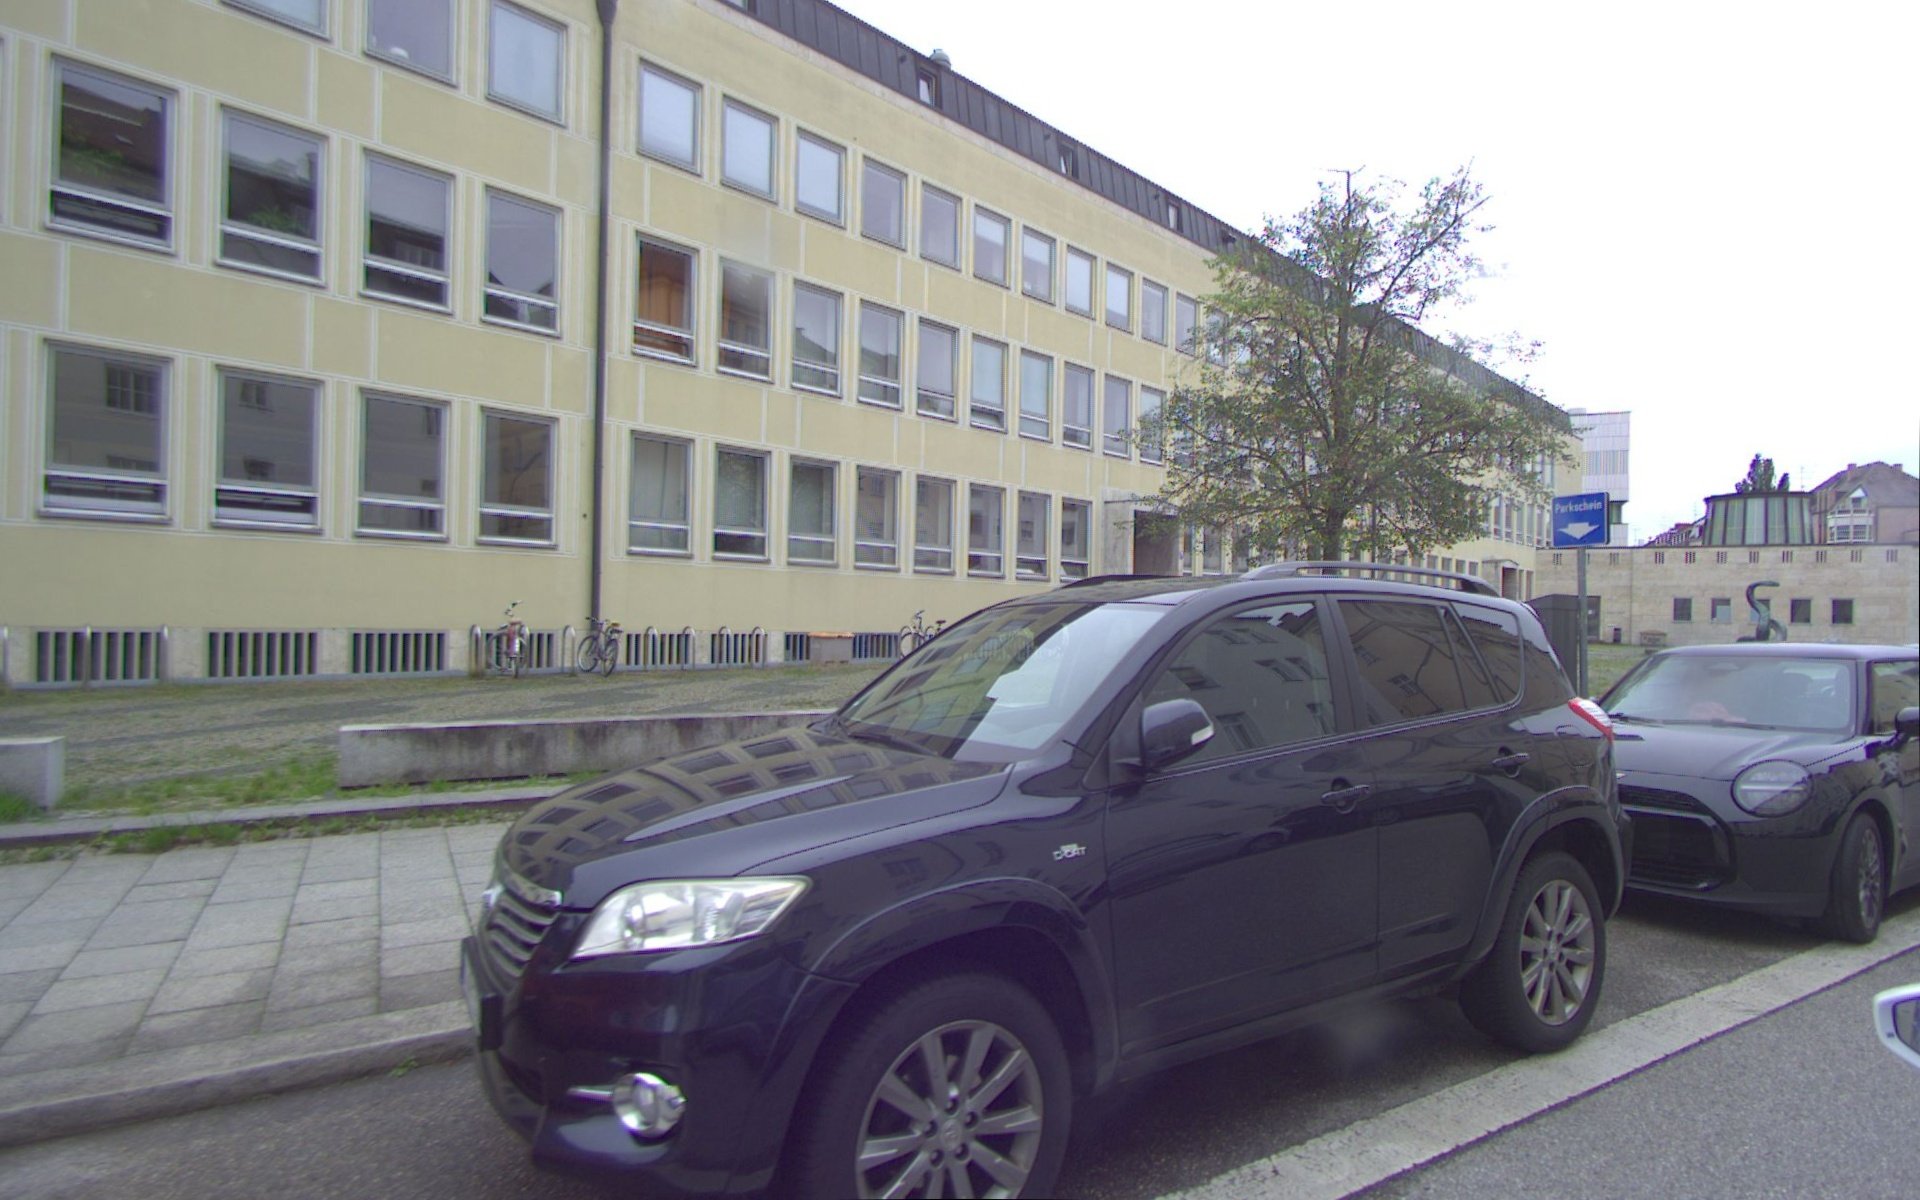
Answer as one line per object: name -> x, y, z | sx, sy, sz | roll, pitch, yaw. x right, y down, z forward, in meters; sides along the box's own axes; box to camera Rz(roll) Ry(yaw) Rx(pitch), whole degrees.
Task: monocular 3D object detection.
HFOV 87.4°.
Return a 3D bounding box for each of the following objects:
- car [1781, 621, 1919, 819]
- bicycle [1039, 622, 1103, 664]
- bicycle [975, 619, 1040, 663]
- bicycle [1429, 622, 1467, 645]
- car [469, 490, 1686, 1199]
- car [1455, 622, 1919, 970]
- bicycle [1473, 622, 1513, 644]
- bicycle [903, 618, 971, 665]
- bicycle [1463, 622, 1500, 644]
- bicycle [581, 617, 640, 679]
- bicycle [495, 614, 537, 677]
car -> 9.102, 0.984, 8.934 | 4.056, 1.514, 1.621 | 1, 0, -33
bicycle -> 2.853, 1.092, 25.851 | 1.583, 0.957, 0.501 | 2, 1, 36
bicycle -> 1.125, 0.975, 24.237 | 1.585, 0.957, 0.501 | 2, 1, 42
bicycle -> 22.053, 1.525, 45.405 | 1.455, 0.957, 0.412 | 2, 1, 43
car -> 0.606, 0.720, 3.556 | 4.093, 1.712, 1.706 | 1, -2, -31
car -> 4.883, 0.915, 6.067 | 3.776, 1.514, 1.623 | 1, -2, -31
bicycle -> 26.021, 1.606, 49.059 | 1.688, 0.957, 0.412 | 2, 1, 43
bicycle -> -0.529, 0.930, 22.707 | 1.585, 0.957, 0.501 | 2, 1, 42
bicycle -> 24.974, 1.583, 48.109 | 1.455, 0.957, 0.412 | 2, 1, 43
bicycle -> -5.992, 0.803, 17.194 | 0.411, 0.957, 1.394 | 1, 1, -42
bicycle -> -7.336, 0.731, 16.581 | 0.410, 0.957, 1.398 | 1, 1, -33
